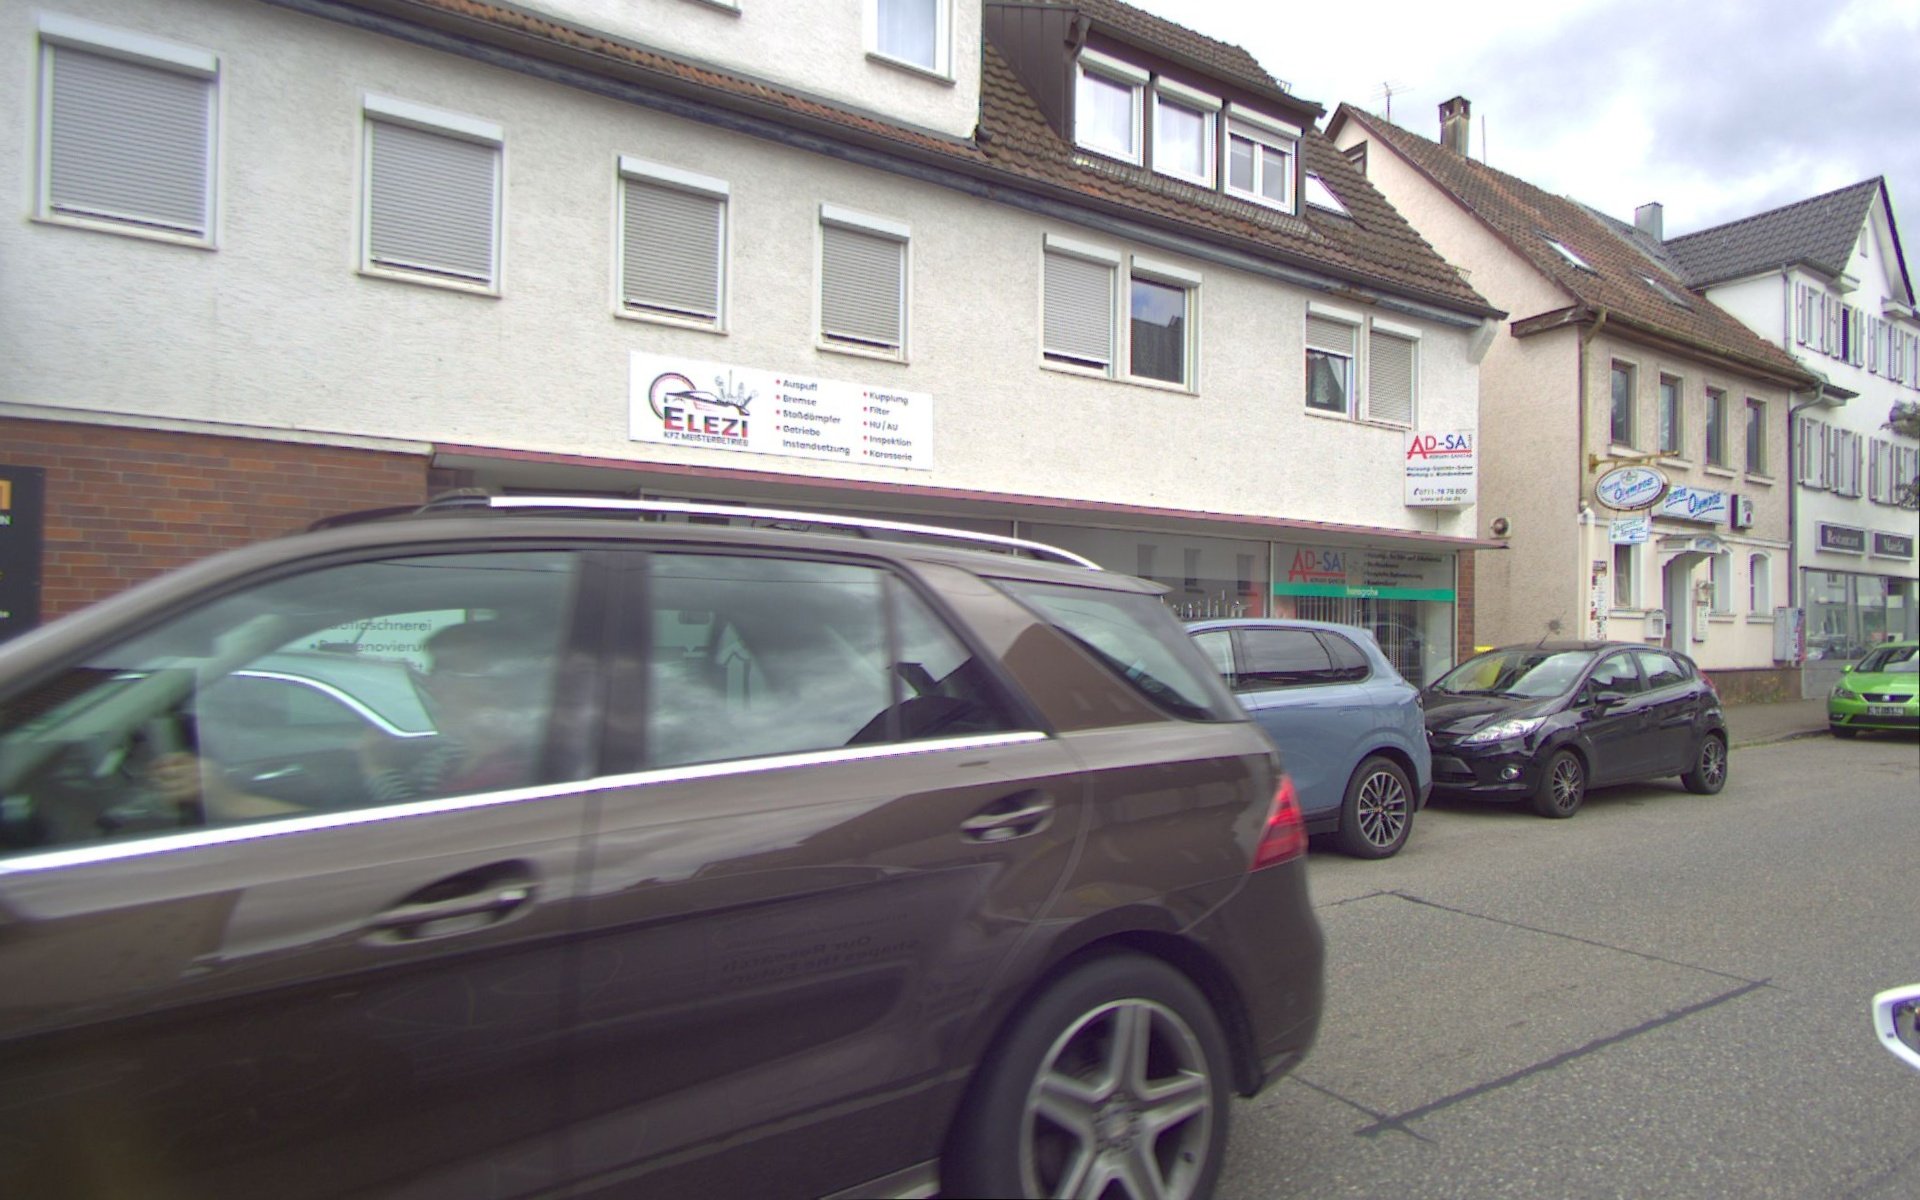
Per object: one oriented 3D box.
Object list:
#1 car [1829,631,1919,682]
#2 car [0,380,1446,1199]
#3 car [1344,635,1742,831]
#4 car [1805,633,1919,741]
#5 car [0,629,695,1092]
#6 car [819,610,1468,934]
[{"bbox_3d":[29.458,1.722,30.742,1.716,1.554,3.966,1,-4,-32],"label":"car"},{"bbox_3d":[-1.037,0.654,2.440,4.314,1.760,1.892,1,-3,-30],"label":"car"},{"bbox_3d":[5.555,1.113,9.498,3.767,1.527,1.575,1,-3,-30],"label":"car"},{"bbox_3d":[14.509,1.235,15.035,3.975,1.466,1.674,1,-3,-32],"label":"car"},{"bbox_3d":[-3.202,0.899,4.263,3.730,1.519,1.675,1,-3,-30],"label":"car"},{"bbox_3d":[1.345,0.939,6.907,4.253,1.620,1.795,1,-3,-30],"label":"car"}]
